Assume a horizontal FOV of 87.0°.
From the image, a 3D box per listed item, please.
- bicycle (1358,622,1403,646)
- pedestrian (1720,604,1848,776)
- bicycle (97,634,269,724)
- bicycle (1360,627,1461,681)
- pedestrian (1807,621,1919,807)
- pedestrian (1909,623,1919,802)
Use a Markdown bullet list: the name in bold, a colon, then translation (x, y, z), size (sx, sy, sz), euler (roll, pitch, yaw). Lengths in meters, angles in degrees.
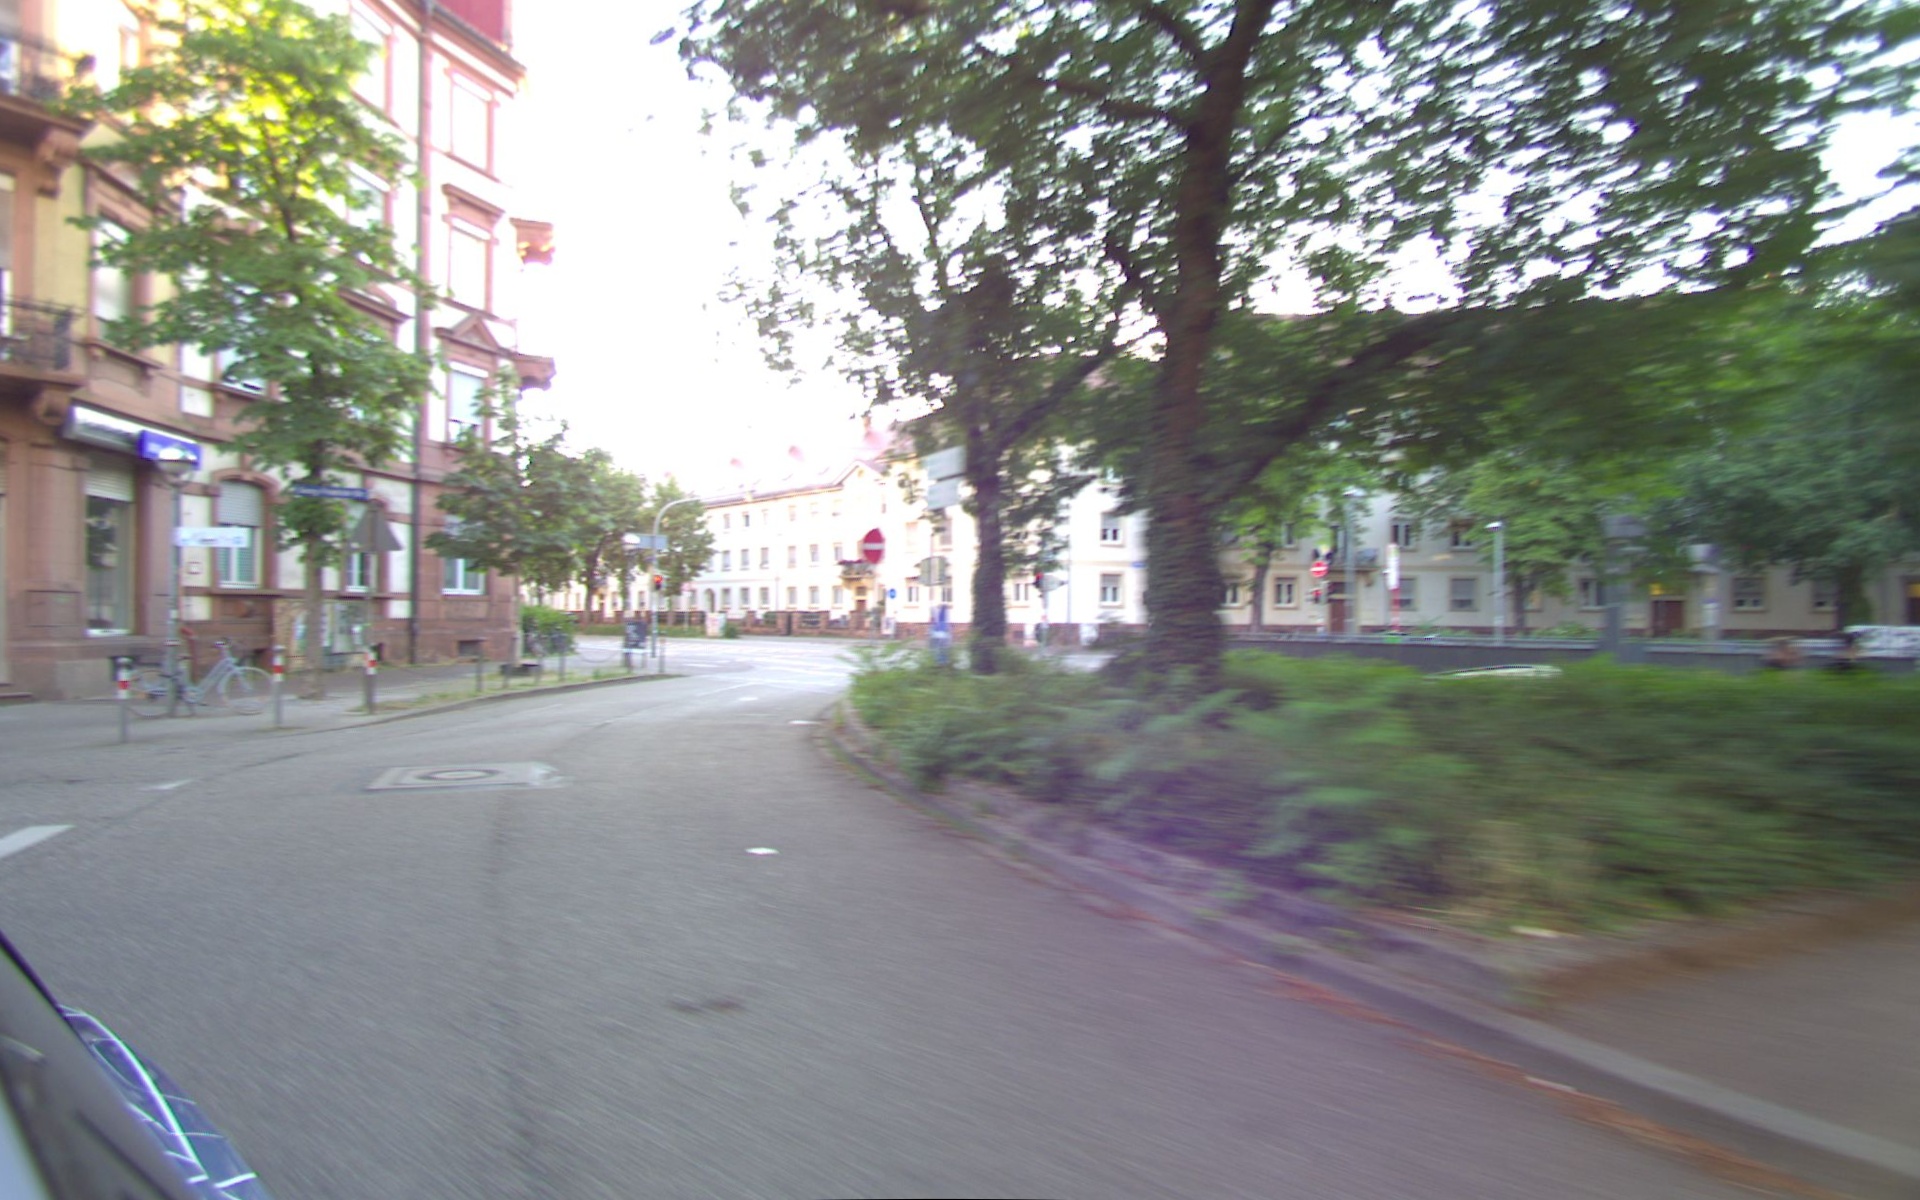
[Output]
- **bicycle**: translation (20.679, 1.649, 49.789), size (1.900, 1.160, 0.684), euler (0, -1, 12)
- **pedestrian**: translation (7.231, 0.755, 8.896), size (0.644, 1.442, 0.620), euler (0, -1, -21)
- **bicycle**: translation (-10.301, 1.020, 13.492), size (1.768, 1.091, 0.562), euler (1, 0, -36)
- **bicycle**: translation (9.381, 1.111, 21.112), size (0.538, 1.059, 1.857), euler (1, -1, -44)
- **pedestrian**: translation (7.517, 0.896, 8.306), size (0.644, 1.442, 0.620), euler (0, -1, -21)
- **pedestrian**: translation (8.133, 0.902, 8.048), size (0.644, 1.442, 0.620), euler (0, -1, -21)
